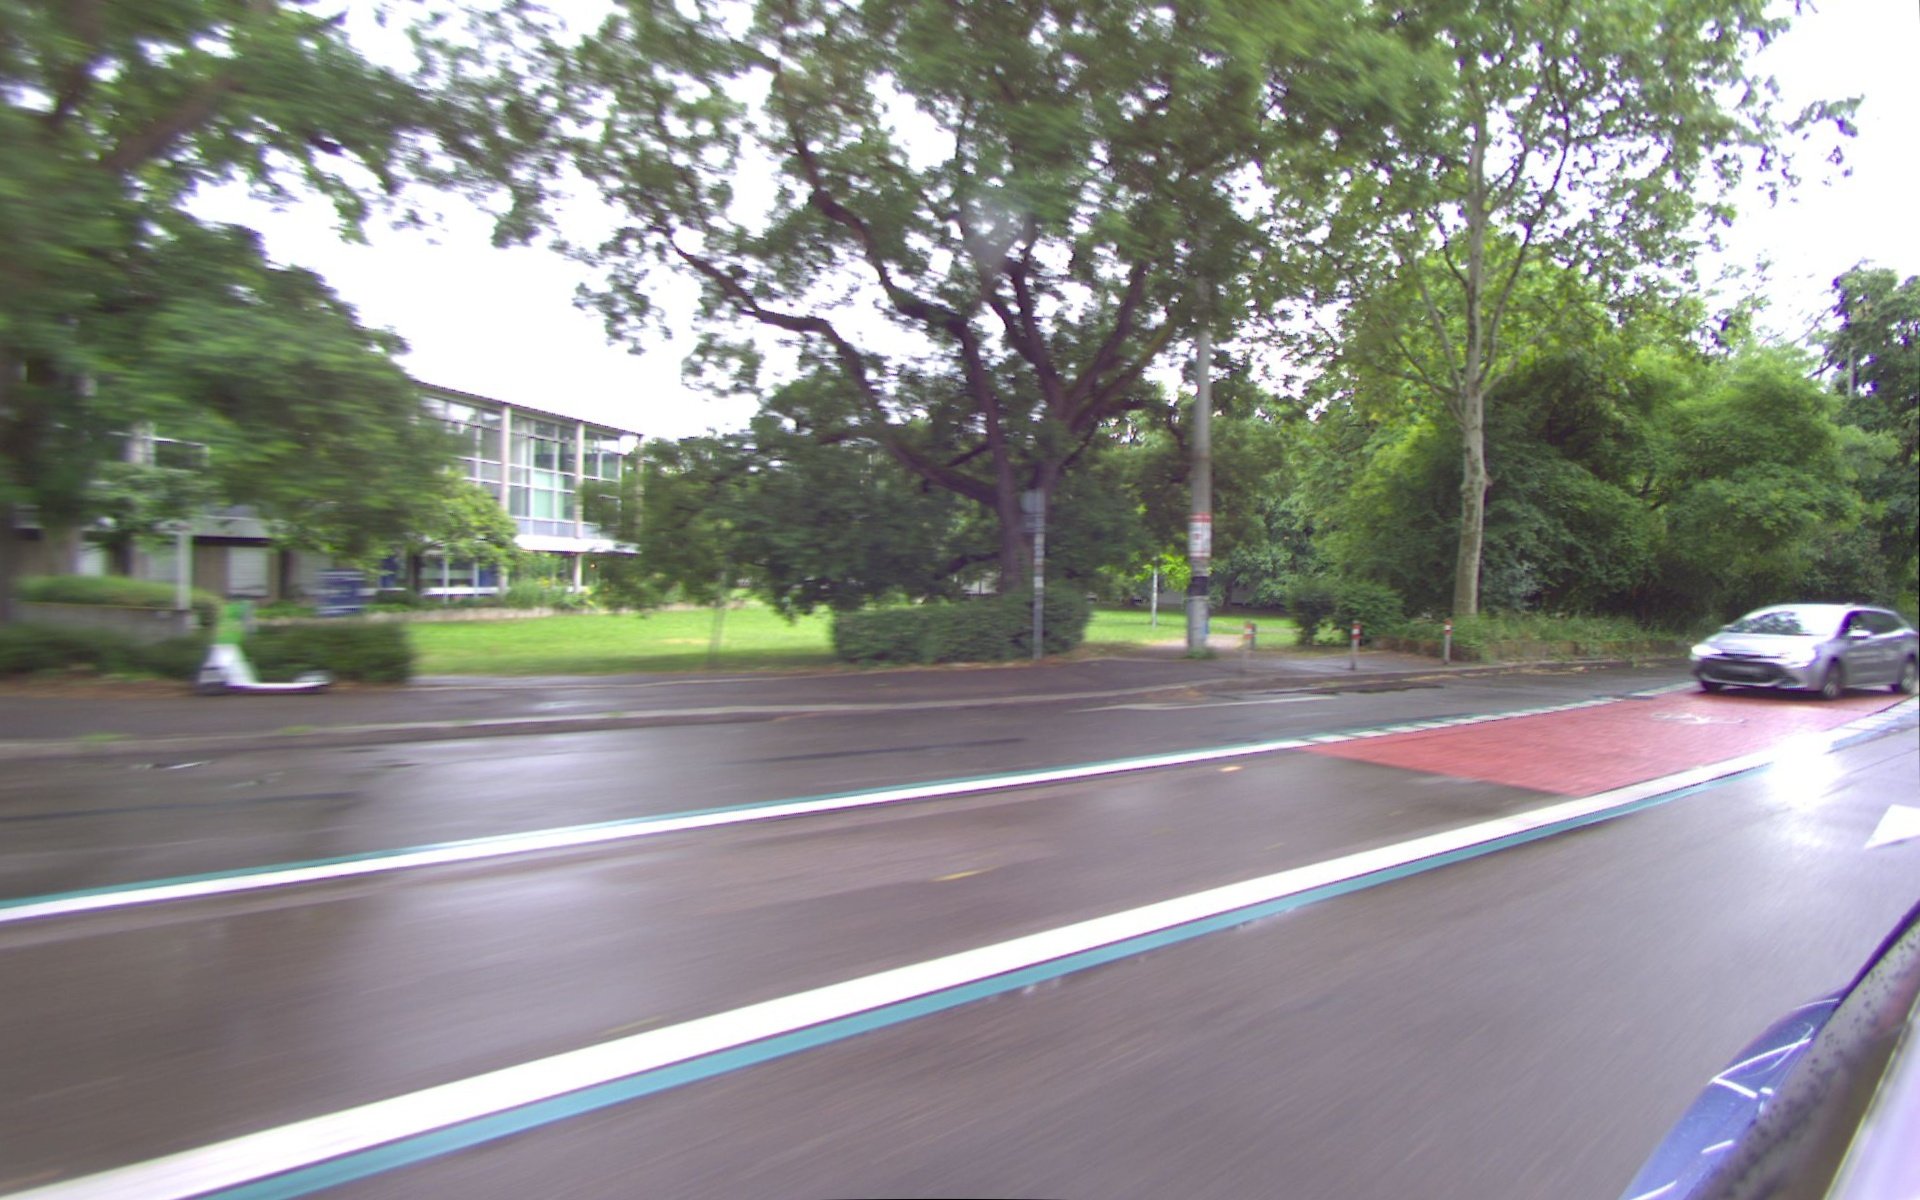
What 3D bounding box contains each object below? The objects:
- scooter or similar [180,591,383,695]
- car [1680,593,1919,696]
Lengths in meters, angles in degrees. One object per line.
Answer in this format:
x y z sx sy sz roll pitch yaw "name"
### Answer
-7.782 0.501 11.689 1.851 1.114 0.560 2 3 -18 "scooter or similar"
13.946 0.658 16.467 4.314 1.468 1.871 0 1 -28 "car"
